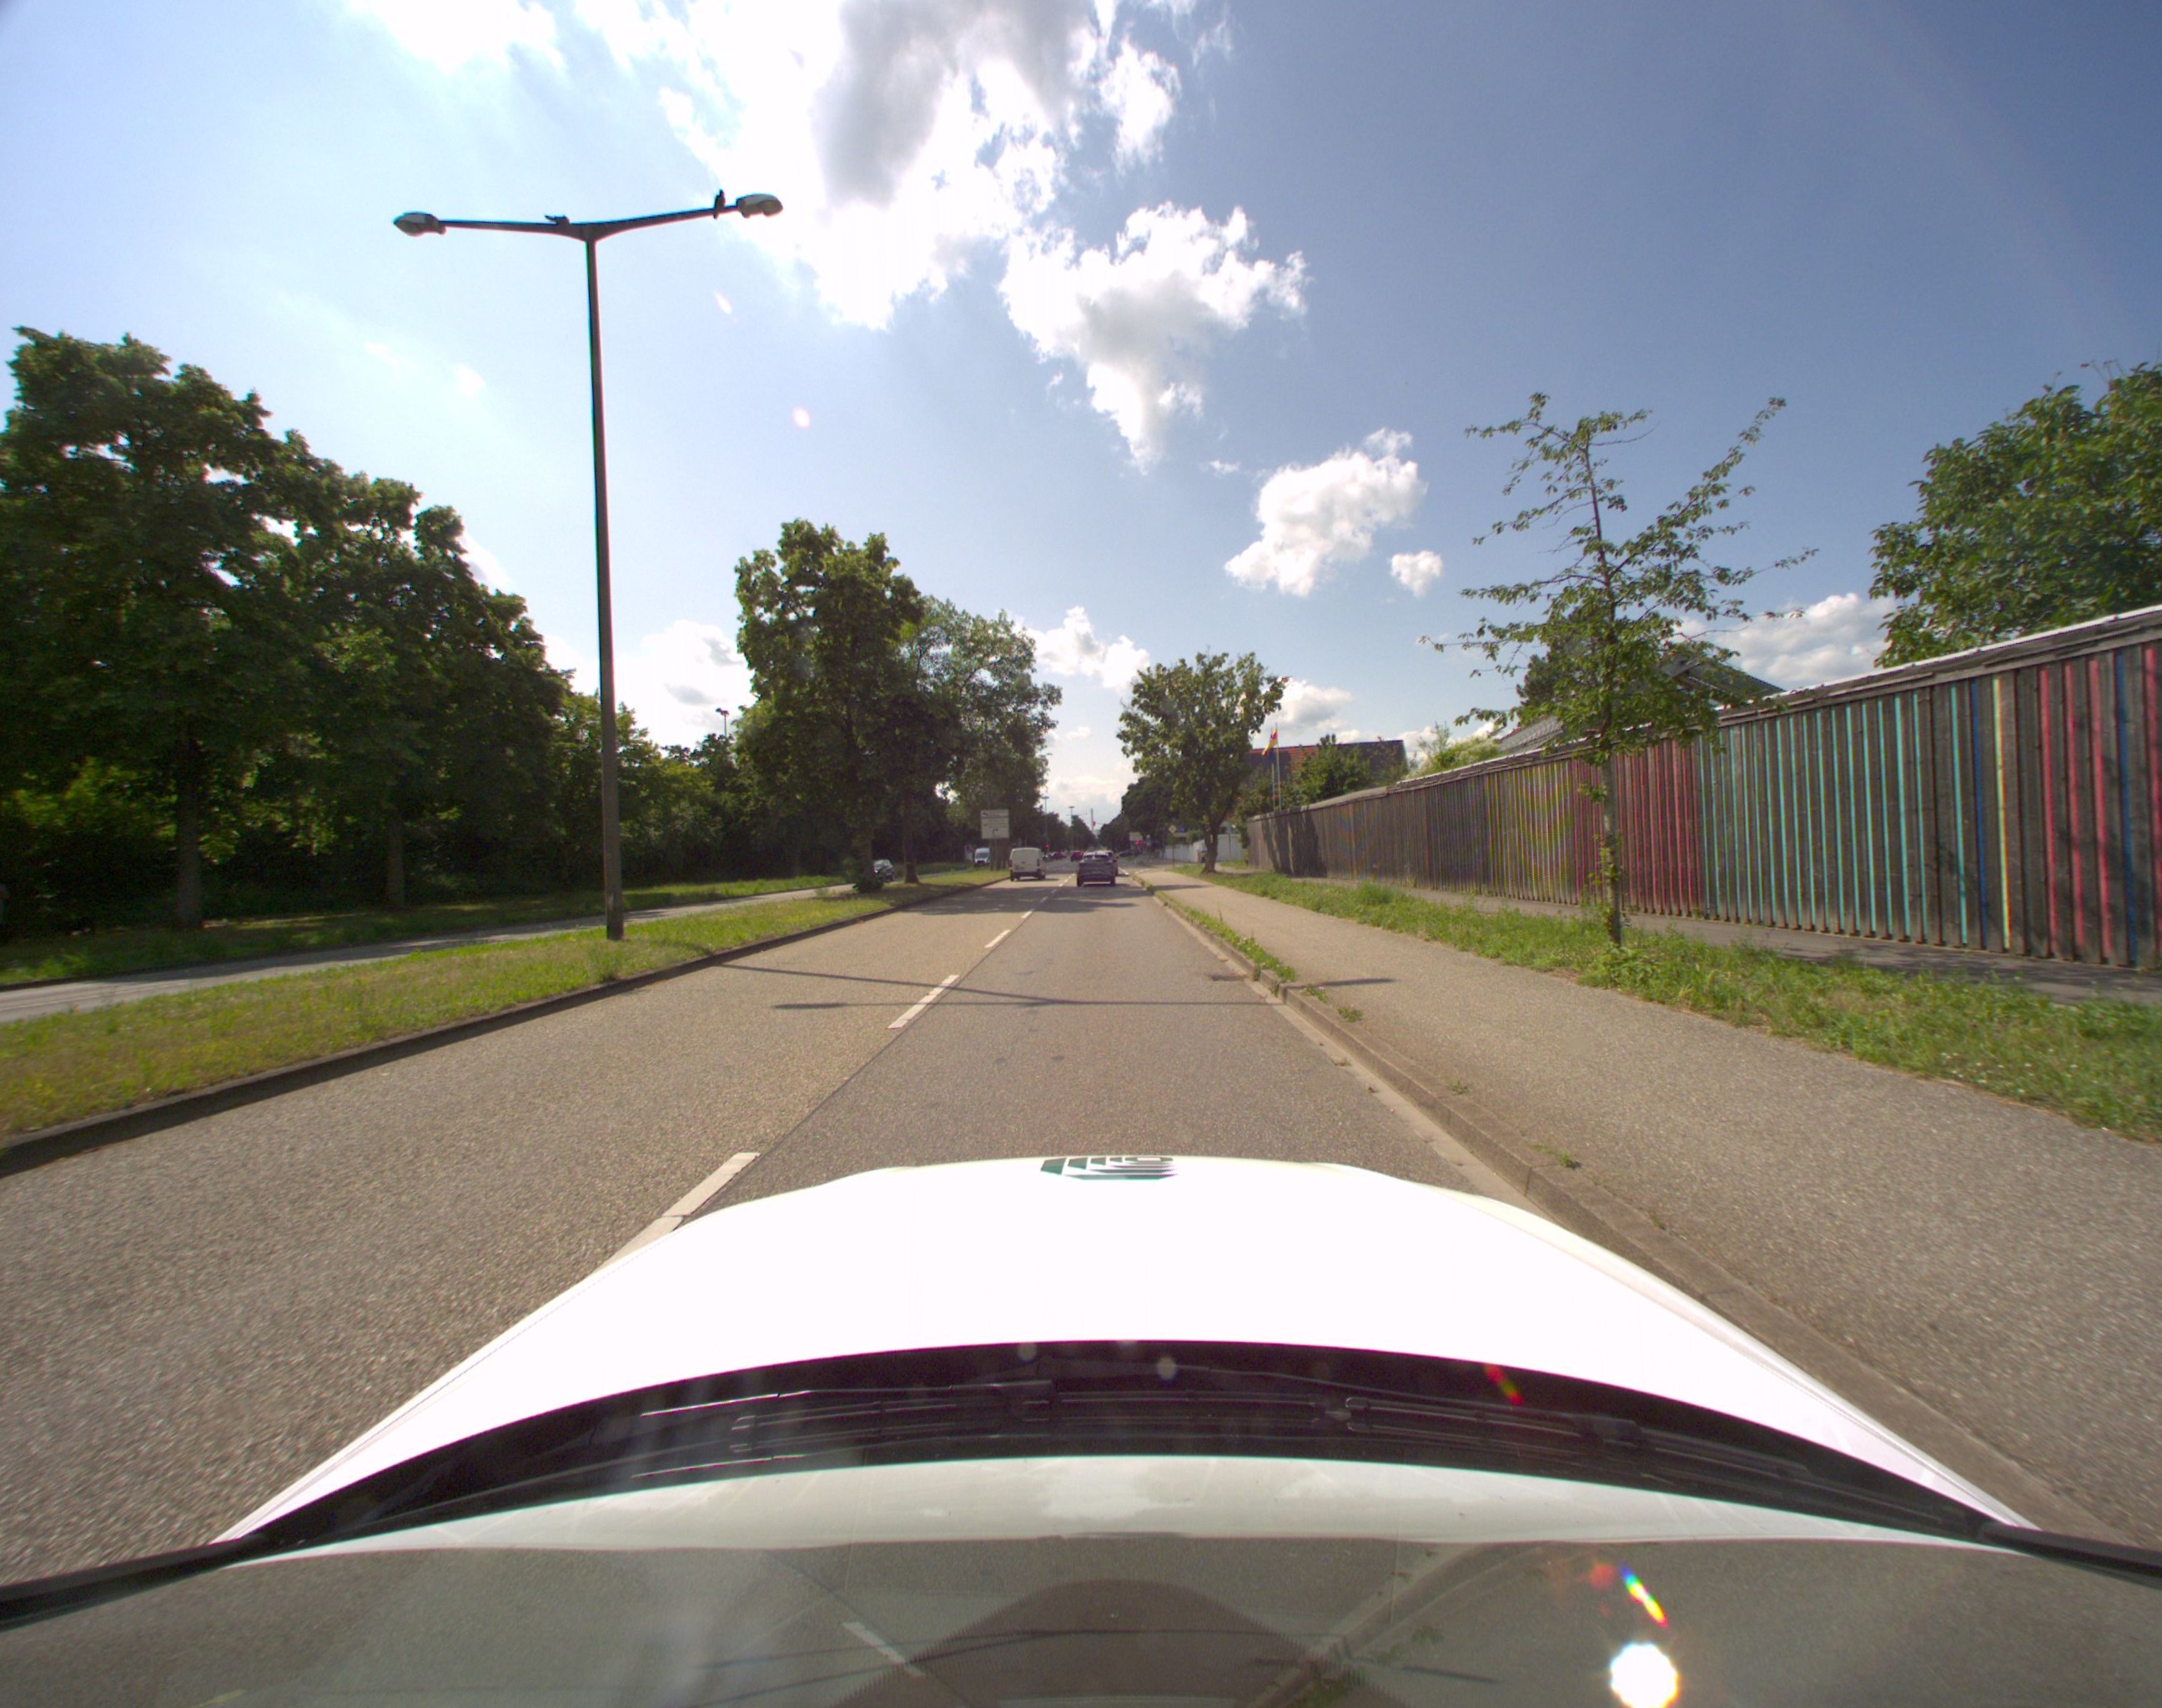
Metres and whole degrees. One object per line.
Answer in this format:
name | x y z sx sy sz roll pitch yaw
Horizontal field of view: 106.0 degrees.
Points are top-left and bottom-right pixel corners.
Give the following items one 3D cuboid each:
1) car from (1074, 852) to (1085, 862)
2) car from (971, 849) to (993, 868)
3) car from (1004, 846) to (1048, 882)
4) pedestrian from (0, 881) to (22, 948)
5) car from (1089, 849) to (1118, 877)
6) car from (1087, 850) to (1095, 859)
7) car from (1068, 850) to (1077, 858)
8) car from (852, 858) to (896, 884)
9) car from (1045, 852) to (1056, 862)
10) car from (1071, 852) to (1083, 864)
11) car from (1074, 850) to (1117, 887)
car | -0.203 0.579 146.207 1.773 1.767 4.170 -2 0 2
car | -13.539 0.577 111.546 2.038 2.431 5.252 -2 0 2
car | -3.113 0.523 47.161 2.058 1.912 4.648 -2 0 1
pedestrian | -27.200 1.515 20.334 0.641 1.630 0.656 -1 0 2
car | 1.460 0.565 52.578 1.773 1.643 4.198 -2 0 2
car | 2.135 0.095 172.928 1.773 1.767 4.002 -2 0 2
car | -1.904 0.044 189.433 1.773 1.767 4.152 -2 0 2
car | -14.991 1.210 59.231 1.986 1.705 4.195 -2 0 2
car | -5.817 0.530 155.014 1.773 1.767 4.127 -2 0 2
car | -0.639 0.642 135.967 1.934 1.767 4.148 -2 0 2
car | 0.702 0.630 38.039 1.868 1.589 4.186 -2 0 2
